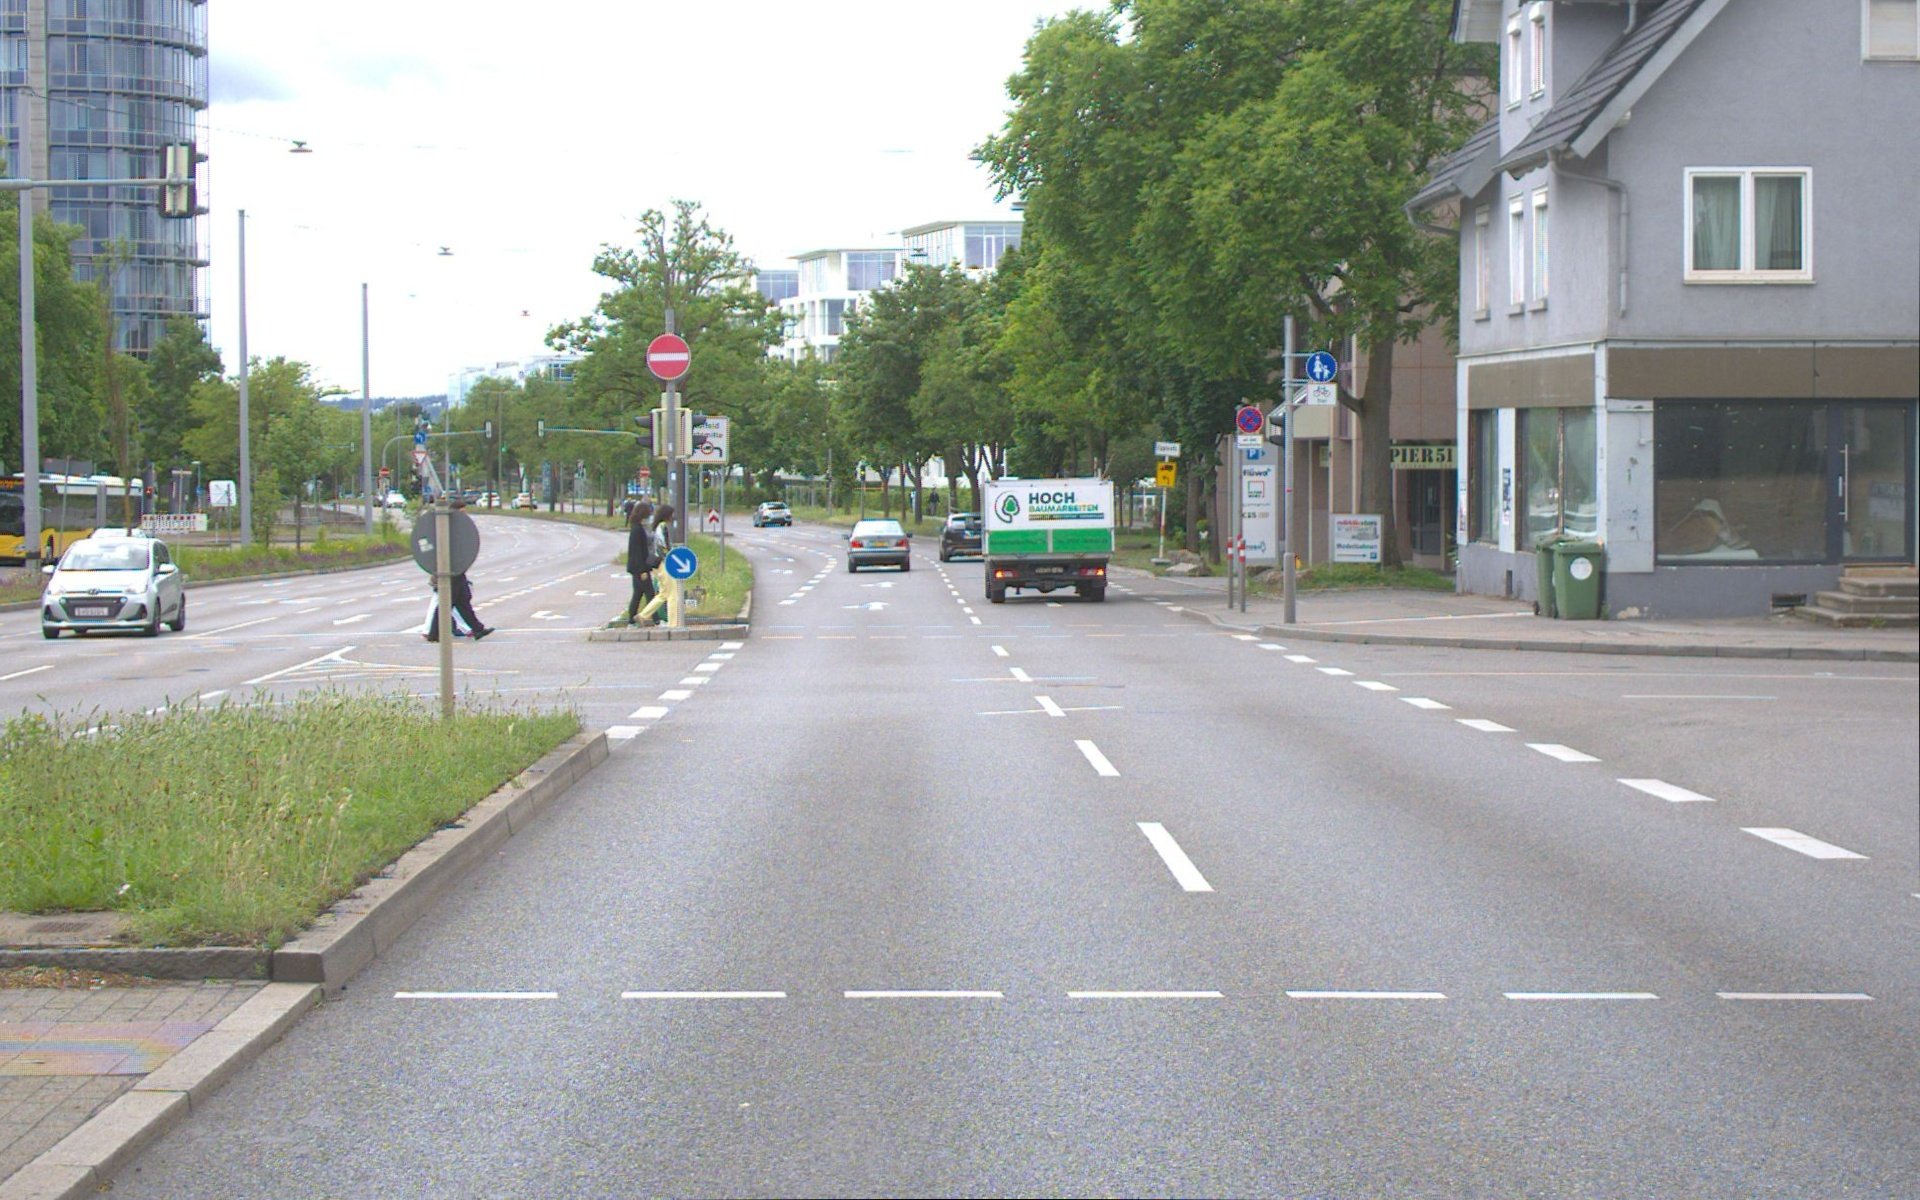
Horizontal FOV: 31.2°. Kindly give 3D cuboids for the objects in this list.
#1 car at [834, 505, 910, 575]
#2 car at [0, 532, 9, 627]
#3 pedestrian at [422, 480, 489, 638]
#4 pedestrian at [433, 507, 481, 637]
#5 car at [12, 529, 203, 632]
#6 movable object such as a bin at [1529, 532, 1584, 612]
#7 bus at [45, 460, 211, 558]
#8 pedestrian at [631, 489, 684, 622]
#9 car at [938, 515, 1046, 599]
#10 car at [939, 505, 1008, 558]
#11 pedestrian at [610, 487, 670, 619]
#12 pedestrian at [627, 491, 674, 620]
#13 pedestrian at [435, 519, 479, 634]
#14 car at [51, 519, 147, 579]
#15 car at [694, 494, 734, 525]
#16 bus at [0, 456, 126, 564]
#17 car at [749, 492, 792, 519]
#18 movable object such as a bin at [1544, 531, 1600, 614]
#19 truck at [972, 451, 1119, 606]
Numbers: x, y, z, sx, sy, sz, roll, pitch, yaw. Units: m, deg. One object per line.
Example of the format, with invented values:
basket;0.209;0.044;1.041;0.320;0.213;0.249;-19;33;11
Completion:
car;-2.354;-1.628;92.556;1.993;1.824;4.000;0;1;-1
car;-15.929;-0.277;52.149;1.993;1.481;4.001;-1;1;-2
pedestrian;-6.484;-0.526;44.198;0.829;2.007;0.546;-1;1;-7
pedestrian;-6.719;-0.377;45.935;0.612;1.710;0.546;-1;1;-7
car;-12.783;-0.324;51.785;1.993;1.481;4.001;-1;1;-2
movable object such as a bin;7.878;-0.378;45.421;0.616;1.039;0.589;1;1;1
bus;-30.296;-3.294;125.671;2.832;3.419;10.732;-1;1;3
pedestrian;-3.929;-0.576;44.695;0.653;1.710;0.452;-1;1;-7
car;0.599;-0.863;67.296;1.993;1.546;4.000;1;1;-1
car;0.382;-2.105;104.592;1.993;1.546;4.000;1;1;-1
pedestrian;-4.211;-0.621;45.197;0.745;1.710;0.583;-1;1;-7
pedestrian;-4.140;-0.596;45.917;0.583;1.710;0.546;-1;1;-7
pedestrian;-6.597;-0.316;45.087;0.543;1.491;0.487;-1;1;-10
car;-24.417;-1.449;97.636;1.806;1.656;4.000;-1;1;-1
car;-12.670;-4.660;176.952;1.993;1.514;4.001;-1;2;-4
bus;-30.917;-2.973;114.934;2.832;3.419;10.732;-1;1;3
car;-11.000;-5.483;199.361;1.993;1.546;4.001;-1;1;-9
movable object such as a bin;7.938;-0.363;44.594;0.604;1.056;0.589;1;1;1
truck;1.475;-1.361;62.016;2.471;2.602;6.548;1;2;0
